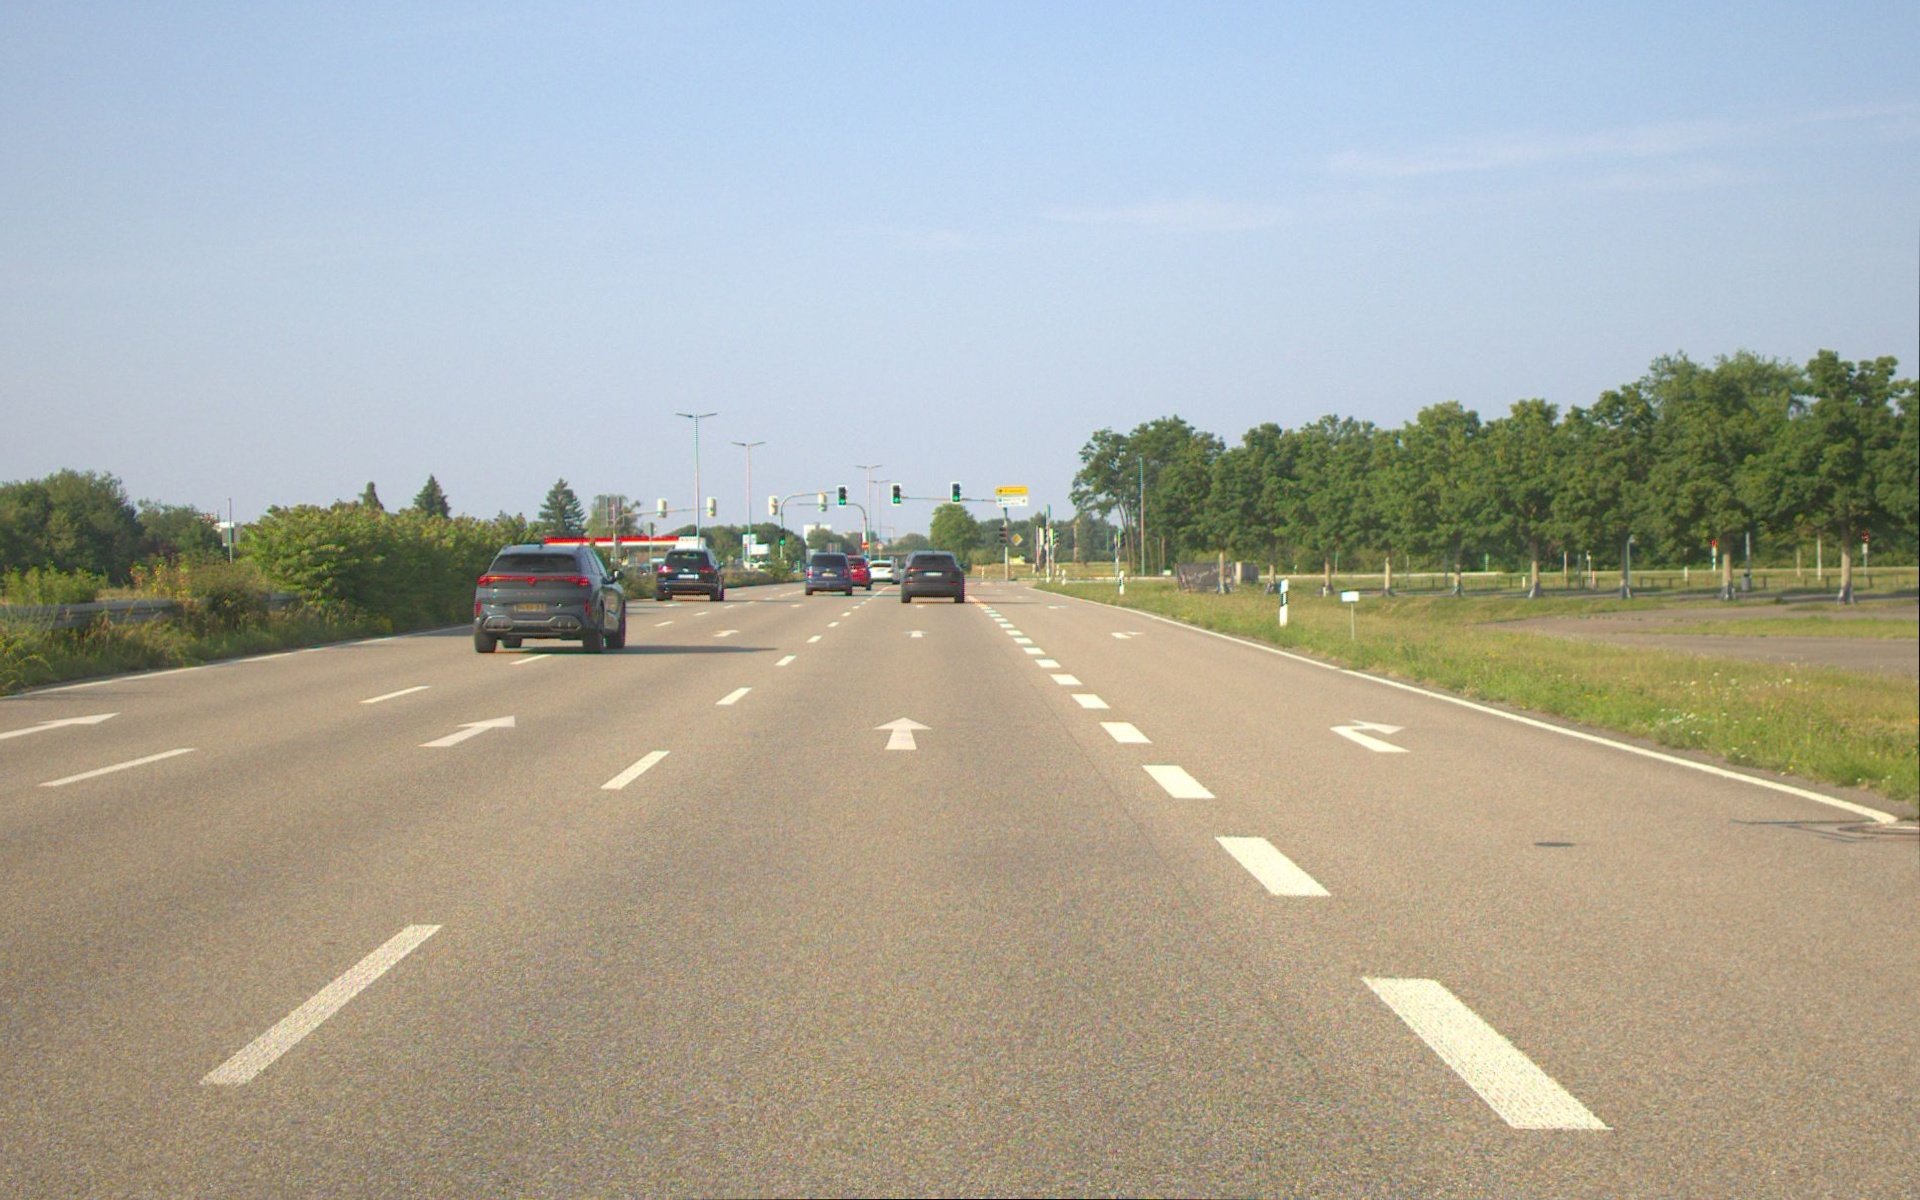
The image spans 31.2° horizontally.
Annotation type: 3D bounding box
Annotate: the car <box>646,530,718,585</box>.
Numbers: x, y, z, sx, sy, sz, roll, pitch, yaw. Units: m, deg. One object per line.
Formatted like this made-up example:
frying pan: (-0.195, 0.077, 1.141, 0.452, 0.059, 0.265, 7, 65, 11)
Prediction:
car: (-8.823, -1.354, 109.347, 1.932, 1.674, 4.401, 2, 1, -1)

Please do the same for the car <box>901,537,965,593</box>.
car: (-0.857, -1.112, 107.675, 1.932, 1.674, 4.401, 2, 1, -1)

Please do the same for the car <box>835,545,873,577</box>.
car: (-4.925, -1.823, 160.151, 1.647, 1.458, 3.981, 2, 1, -1)

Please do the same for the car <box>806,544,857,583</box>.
car: (-4.963, -1.419, 133.111, 1.812, 1.458, 4.401, 2, 1, -1)

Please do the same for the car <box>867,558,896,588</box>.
car: (-4.635, -1.596, 203.271, 1.645, 1.722, 3.401, 1, 0, -1)

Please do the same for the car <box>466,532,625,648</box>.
car: (-6.128, -0.184, 51.207, 1.845, 1.606, 4.401, 2, 1, -1)
